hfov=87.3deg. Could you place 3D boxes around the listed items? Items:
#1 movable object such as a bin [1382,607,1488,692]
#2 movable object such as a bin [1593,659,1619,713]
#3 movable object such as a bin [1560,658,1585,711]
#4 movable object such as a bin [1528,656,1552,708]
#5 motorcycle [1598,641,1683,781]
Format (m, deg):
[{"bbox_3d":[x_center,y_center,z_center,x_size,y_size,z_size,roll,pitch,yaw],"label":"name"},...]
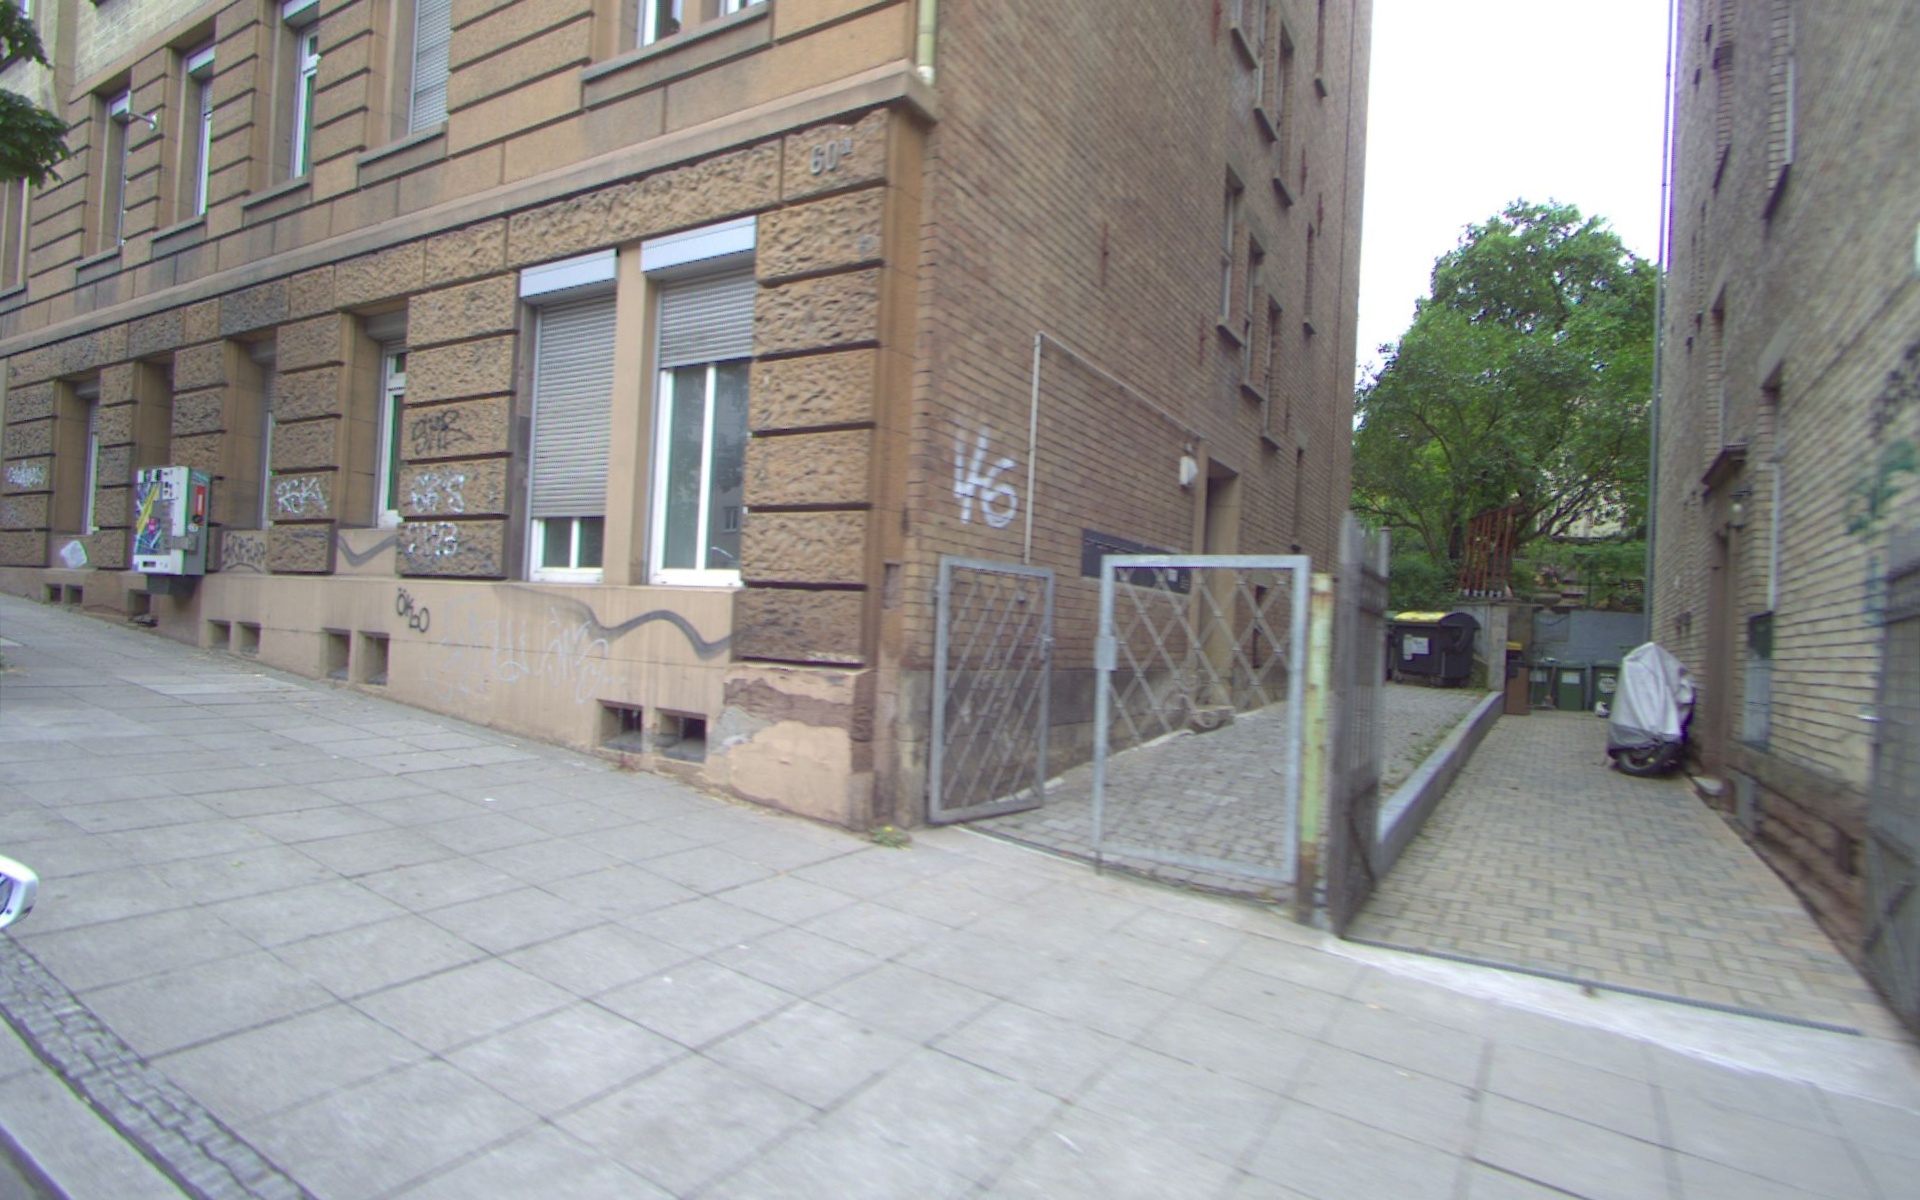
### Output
[{"bbox_3d":[9.219,0.942,19.583,1.122,1.464,1.390,6,1,-13],"label":"movable object such as a bin"},{"bbox_3d":[13.052,1.733,20.328,0.381,1.044,0.413,3,-1,31],"label":"movable object such as a bin"},{"bbox_3d":[12.535,1.720,20.596,0.381,1.044,0.413,3,-1,30],"label":"movable object such as a bin"},{"bbox_3d":[12.070,1.705,20.935,0.381,1.044,0.413,3,-1,30],"label":"movable object such as a bin"},{"bbox_3d":[7.938,1.232,11.801,0.643,1.463,2.028,1,-1,30],"label":"motorcycle"}]
